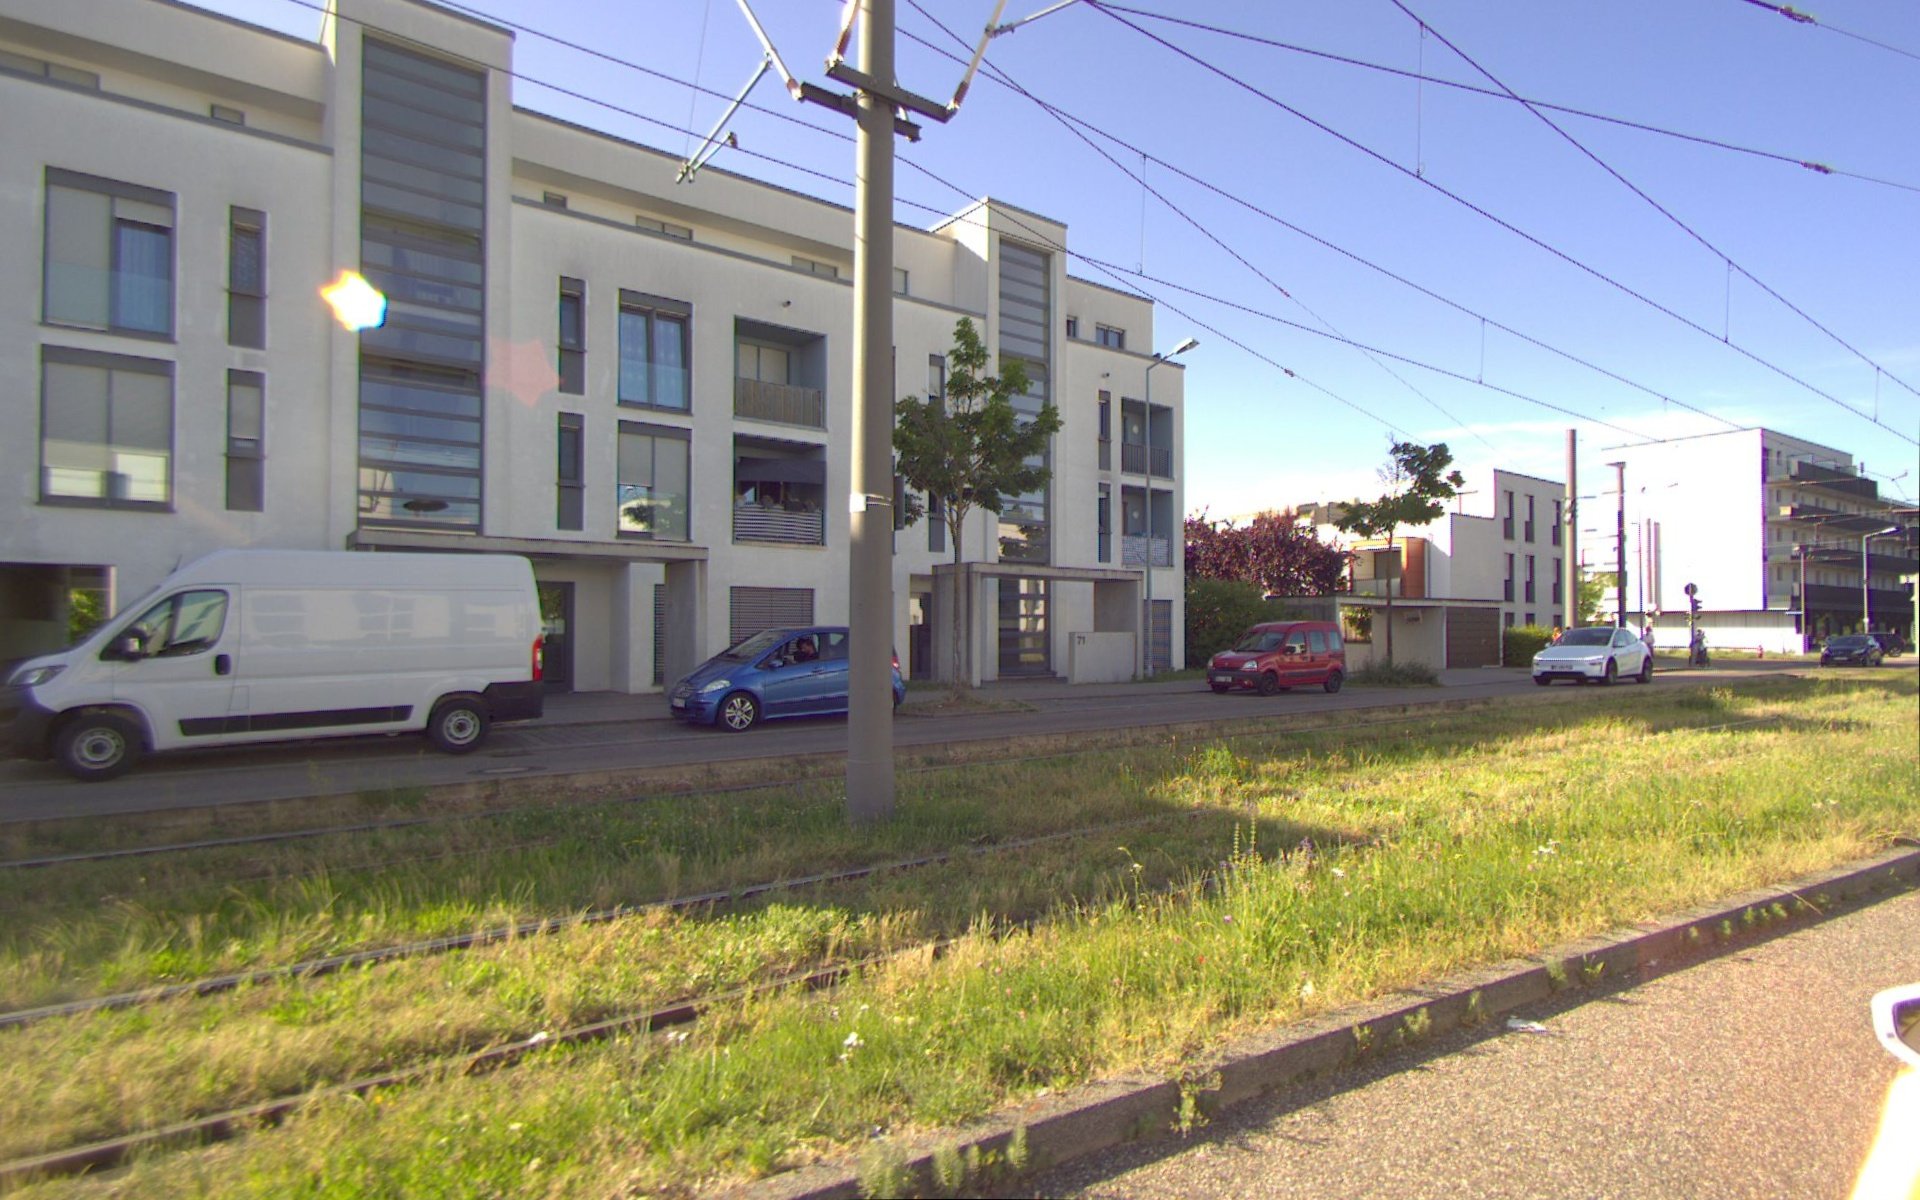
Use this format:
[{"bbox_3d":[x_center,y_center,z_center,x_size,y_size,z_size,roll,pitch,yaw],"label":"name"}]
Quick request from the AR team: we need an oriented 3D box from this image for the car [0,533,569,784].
[{"bbox_3d":[-7.991,0.611,12.382,5.538,2.477,2.124,1,0,-37],"label":"car"}]

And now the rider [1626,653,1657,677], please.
[{"bbox_3d":[29.885,2.844,44.051,1.033,1.016,0.774,1,0,-31],"label":"rider"}]

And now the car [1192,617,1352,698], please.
[{"bbox_3d":[7.729,1.354,24.800,3.800,1.820,1.868,1,0,-36],"label":"car"}]

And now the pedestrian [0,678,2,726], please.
[{"bbox_3d":[-13.837,1.418,13.547,1.272,0.661,0.362,1,0,-34],"label":"pedestrian"}]

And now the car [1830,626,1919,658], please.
[{"bbox_3d":[59.339,2.723,65.164,3.919,2.040,2.002,-1,-2,7],"label":"car"}]

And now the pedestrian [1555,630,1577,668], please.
[{"bbox_3d":[24.331,1.956,40.346,0.605,1.483,0.553,1,0,-34],"label":"pedestrian"}]

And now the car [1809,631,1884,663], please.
[{"bbox_3d":[41.800,2.210,47.356,3.961,1.437,1.776,1,-3,-36],"label":"car"}]

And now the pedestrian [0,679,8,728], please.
[{"bbox_3d":[-14.046,1.449,13.850,1.272,0.661,0.362,1,0,-34],"label":"pedestrian"}]

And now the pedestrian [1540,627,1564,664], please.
[{"bbox_3d":[24.057,1.830,40.825,0.735,1.483,0.553,1,0,-34],"label":"pedestrian"}]

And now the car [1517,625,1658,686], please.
[{"bbox_3d":[18.045,1.565,28.805,4.606,1.616,1.979,1,-4,-39],"label":"car"}]

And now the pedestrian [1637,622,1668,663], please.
[{"bbox_3d":[30.726,1.860,44.569,0.899,1.771,0.812,1,0,-30],"label":"pedestrian"}]

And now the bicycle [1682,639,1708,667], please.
[{"bbox_3d":[34.966,2.484,47.783,0.784,1.238,2.689,1,0,41],"label":"bicycle"}]

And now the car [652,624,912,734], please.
[{"bbox_3d":[-2.861,1.195,16.440,3.806,1.557,1.811,1,0,-37],"label":"car"}]

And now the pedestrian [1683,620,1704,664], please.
[{"bbox_3d":[34.527,1.983,47.269,0.752,2.040,0.666,1,0,41],"label":"pedestrian"}]
